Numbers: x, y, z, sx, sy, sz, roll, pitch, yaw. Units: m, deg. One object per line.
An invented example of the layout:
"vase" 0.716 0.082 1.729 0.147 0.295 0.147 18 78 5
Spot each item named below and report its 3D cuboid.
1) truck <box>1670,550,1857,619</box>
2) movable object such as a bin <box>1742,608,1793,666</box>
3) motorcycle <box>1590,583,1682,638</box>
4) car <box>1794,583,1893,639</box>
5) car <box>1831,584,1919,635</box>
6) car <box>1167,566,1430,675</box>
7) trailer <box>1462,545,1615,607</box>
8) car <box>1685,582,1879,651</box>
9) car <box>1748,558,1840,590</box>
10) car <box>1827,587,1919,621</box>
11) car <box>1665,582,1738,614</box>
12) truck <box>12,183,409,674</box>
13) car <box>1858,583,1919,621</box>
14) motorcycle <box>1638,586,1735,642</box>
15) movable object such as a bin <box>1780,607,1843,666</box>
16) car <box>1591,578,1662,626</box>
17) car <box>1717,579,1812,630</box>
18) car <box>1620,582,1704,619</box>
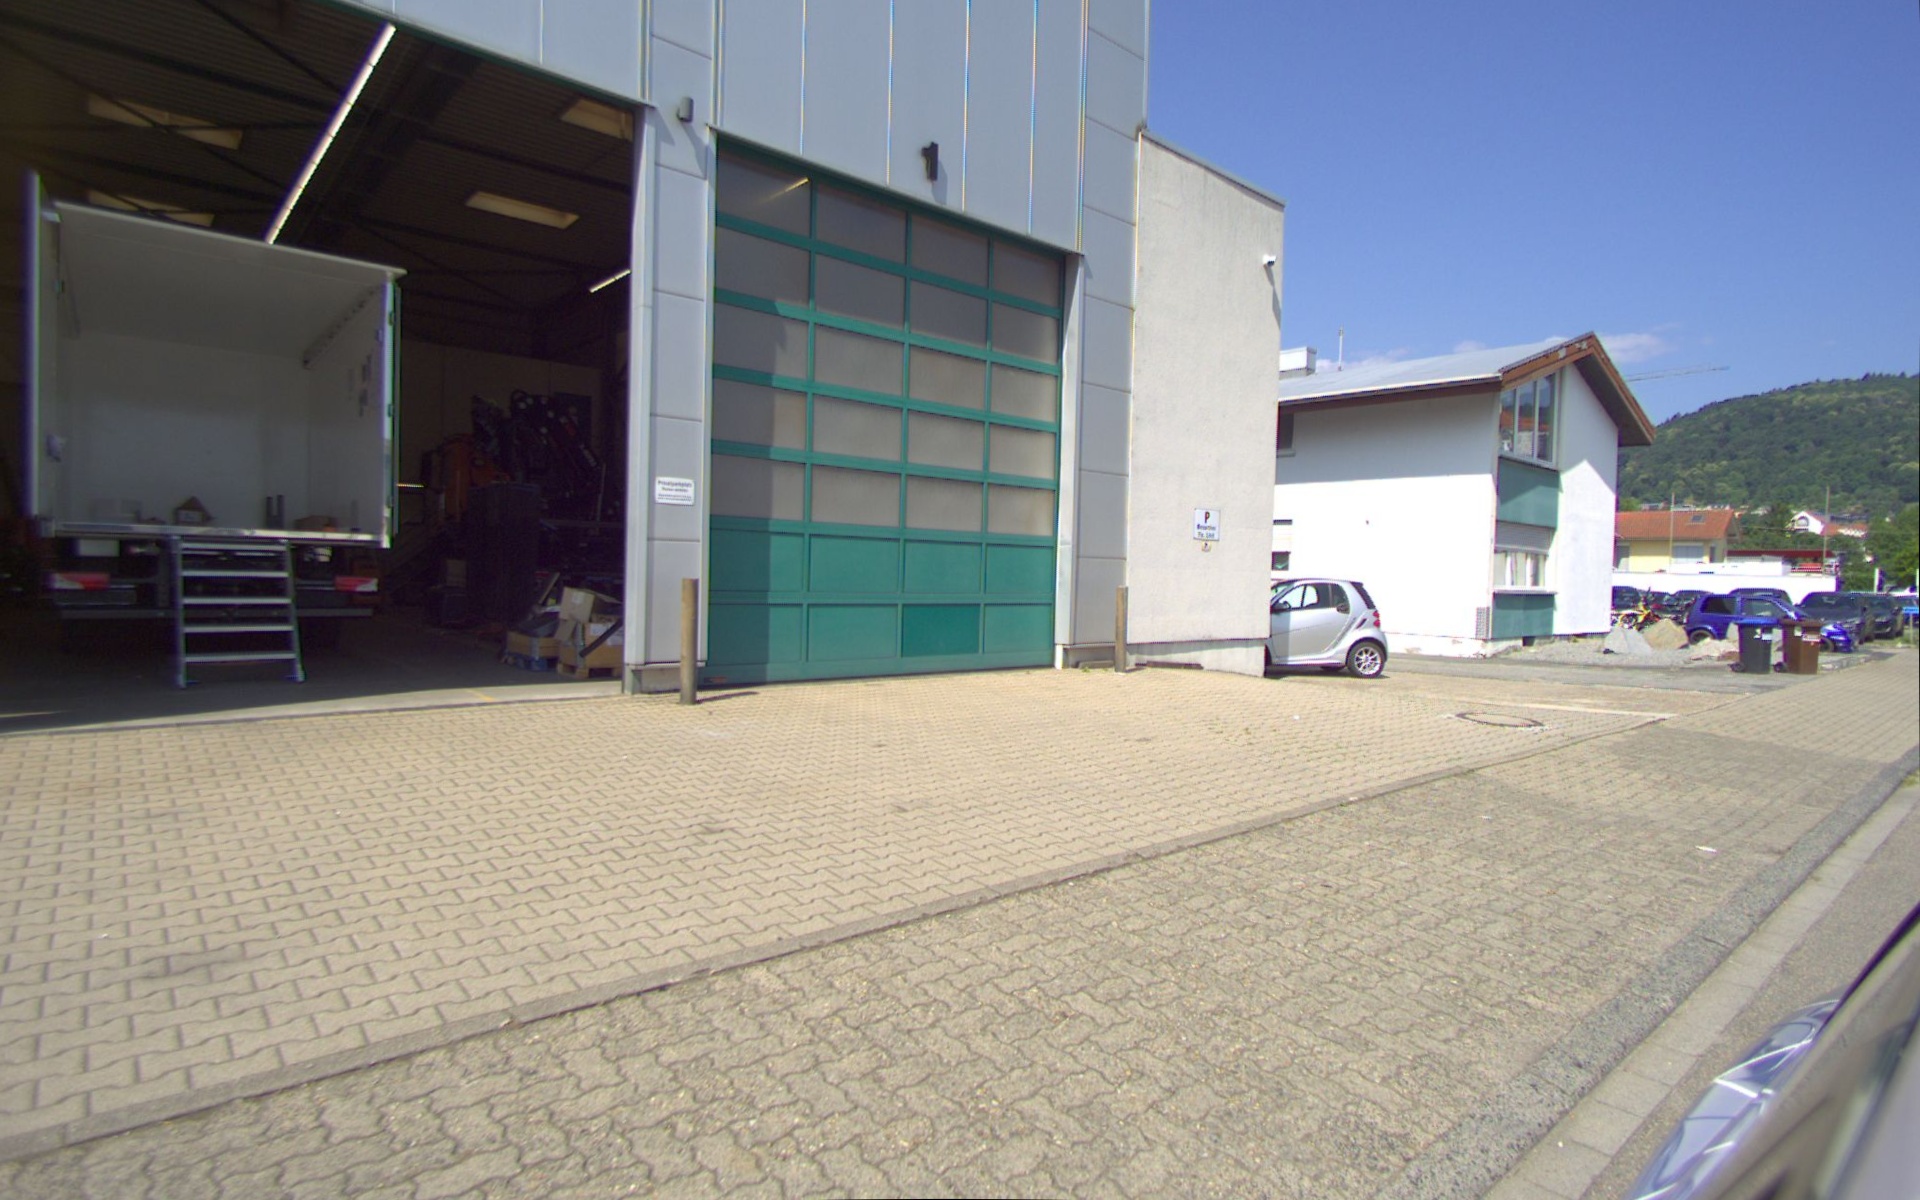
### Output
"truck" 43.337 -0.736 54.830 2.483 3.467 7.530 -1 -1 -40
"movable object such as a bin" 13.984 0.632 17.534 0.478 0.957 0.516 1 2 -30
"motorcycle" 17.324 0.255 25.983 1.732 1.295 0.792 3 3 19
"car" 27.618 0.282 31.578 4.219 1.577 1.815 -1 2 -42
"car" 31.727 0.265 34.981 4.867 1.587 1.861 -1 3 -42
"car" 5.393 0.293 16.503 3.633 1.558 1.779 2 2 1
"trailer" 38.683 -1.672 68.006 3.010 3.910 8.363 -1 3 -35
"car" 19.248 0.342 23.774 1.644 1.416 3.260 1 1 -40
"car" 76.109 -2.379 92.483 5.960 2.711 2.239 2 3 27
"car" 41.001 0.150 44.357 1.859 1.460 4.359 0 1 -41
"car" 37.103 -0.138 50.617 4.111 1.459 1.892 -1 4 -38
"truck" -7.900 -1.427 10.807 2.727 3.795 5.314 0 2 -38
"car" 45.493 0.067 47.935 1.736 1.703 4.206 -1 -1 -41
"motorcycle" 18.760 0.346 26.159 0.783 1.295 1.871 0 4 -43
"movable object such as a bin" 14.688 0.621 17.472 0.546 0.957 0.570 1 2 -8
"car" 23.713 0.027 35.954 1.756 1.514 4.094 4 4 37
"car" 27.966 0.130 35.166 3.552 1.614 1.764 0 2 -38
"car" 27.804 0.002 40.060 4.027 1.340 1.646 -1 2 -39
